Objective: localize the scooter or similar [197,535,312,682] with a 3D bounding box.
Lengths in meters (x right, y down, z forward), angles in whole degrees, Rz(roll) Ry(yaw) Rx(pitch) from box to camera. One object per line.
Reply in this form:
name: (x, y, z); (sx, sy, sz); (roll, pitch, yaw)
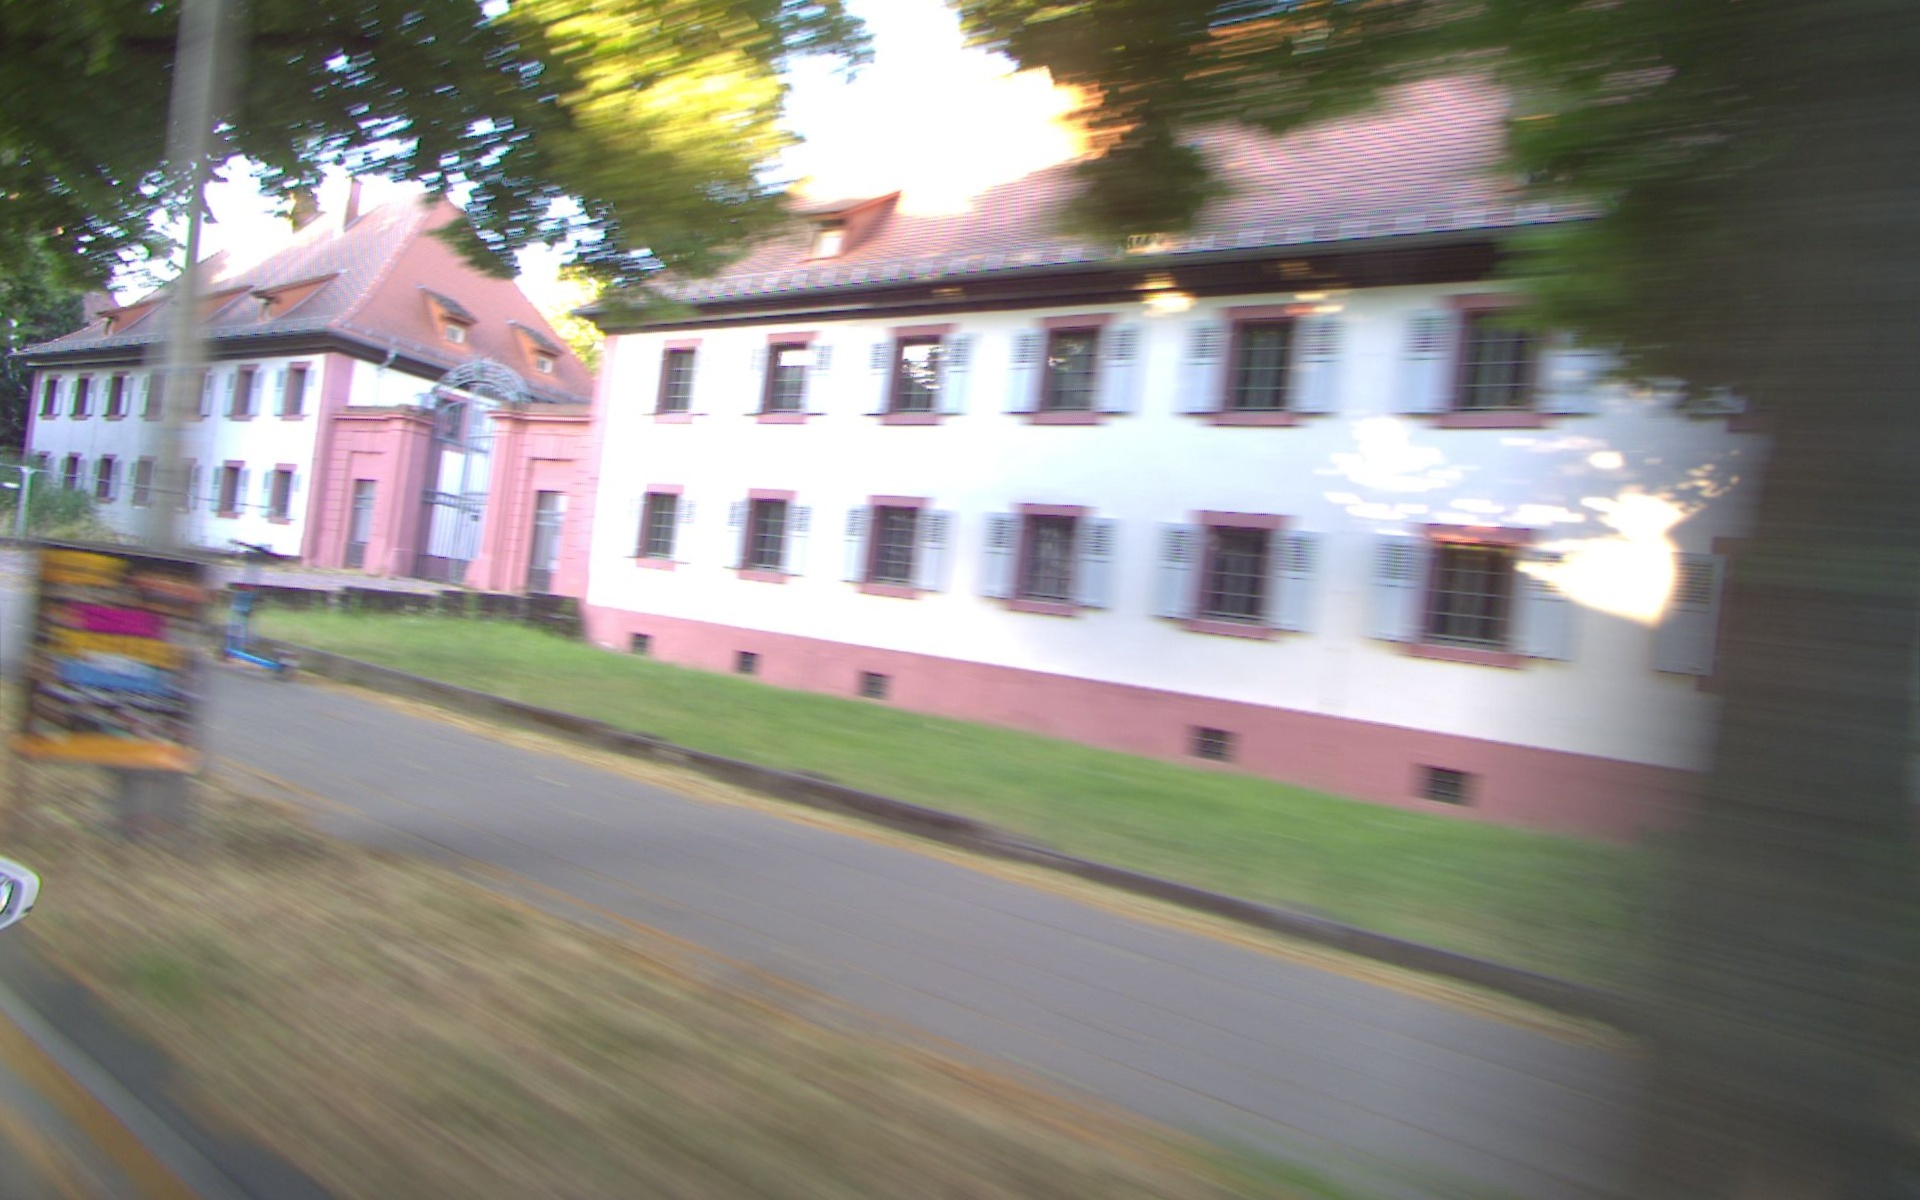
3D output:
scooter or similar: (-6.820, 0.068, 9.712); (1.245, 1.291, 0.240); (6, 0, 27)
